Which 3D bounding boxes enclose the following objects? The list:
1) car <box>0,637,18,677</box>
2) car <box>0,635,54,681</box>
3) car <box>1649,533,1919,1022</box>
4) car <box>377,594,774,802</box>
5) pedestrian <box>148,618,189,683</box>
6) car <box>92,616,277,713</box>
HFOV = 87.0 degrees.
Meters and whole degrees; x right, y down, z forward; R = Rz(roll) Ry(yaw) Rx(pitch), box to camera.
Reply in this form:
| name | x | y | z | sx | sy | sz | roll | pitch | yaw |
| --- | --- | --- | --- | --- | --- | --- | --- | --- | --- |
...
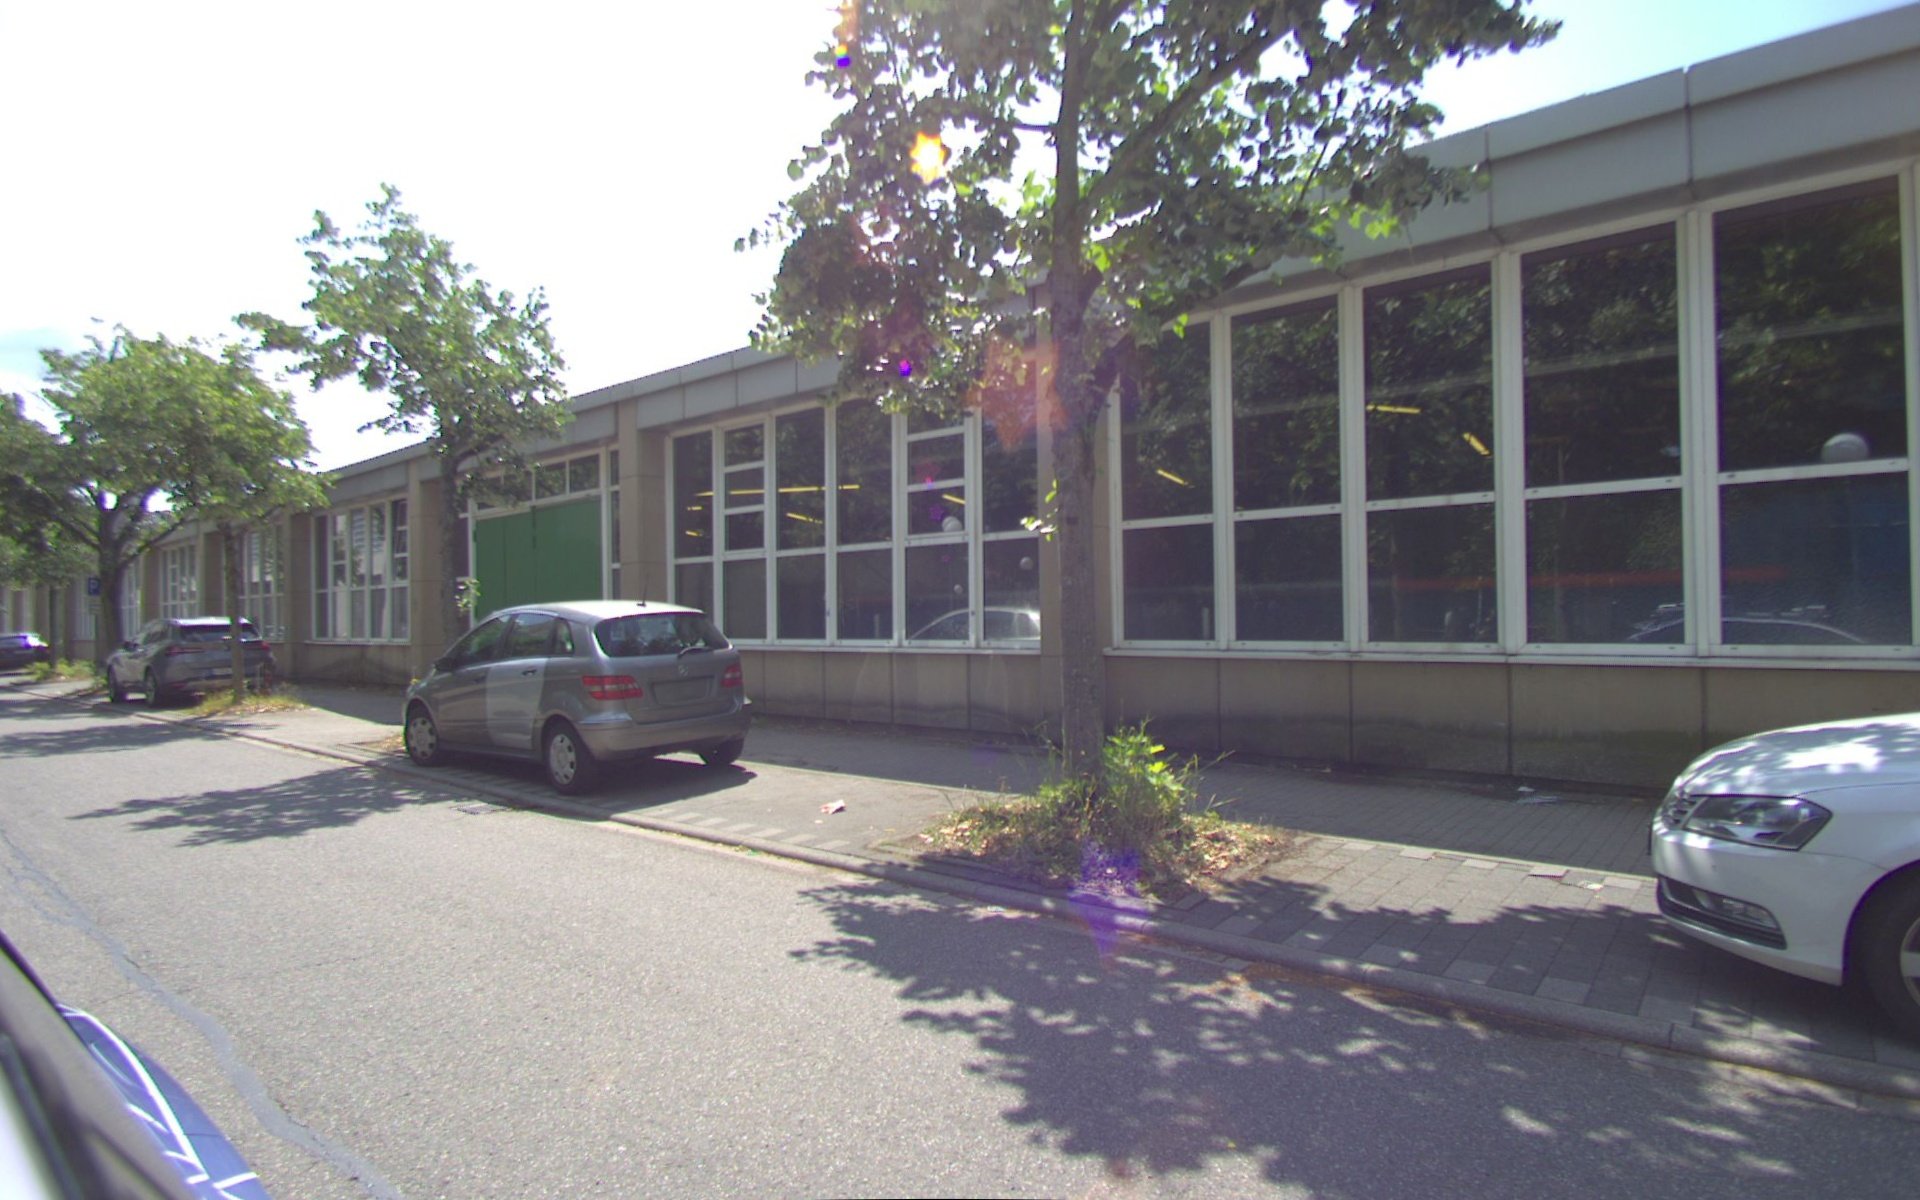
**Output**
| name | x | y | z | sx | sy | sz | roll | pitch | yaw |
| --- | --- | --- | --- | --- | --- | --- | --- | --- | --- |
| car | -37.793 | 2.239 | 39.060 | 3.749 | 1.460 | 1.614 | -2 | 1 | 40 |
| car | -33.261 | 2.047 | 35.396 | 4.285 | 1.446 | 1.708 | -3 | 0 | 40 |
| car | 4.668 | 0.461 | 2.669 | 4.578 | 1.467 | 1.708 | -2 | 1 | 39 |
| car | -3.873 | 0.817 | 9.888 | 4.108 | 1.568 | 1.740 | -2 | 1 | 39 |
| pedestrian | -22.895 | 1.452 | 29.270 | 0.670 | 1.800 | 0.779 | -4 | -1 | 43 |
| car | -15.500 | 1.216 | 20.148 | 4.511 | 1.644 | 1.805 | -2 | 1 | 38 |
